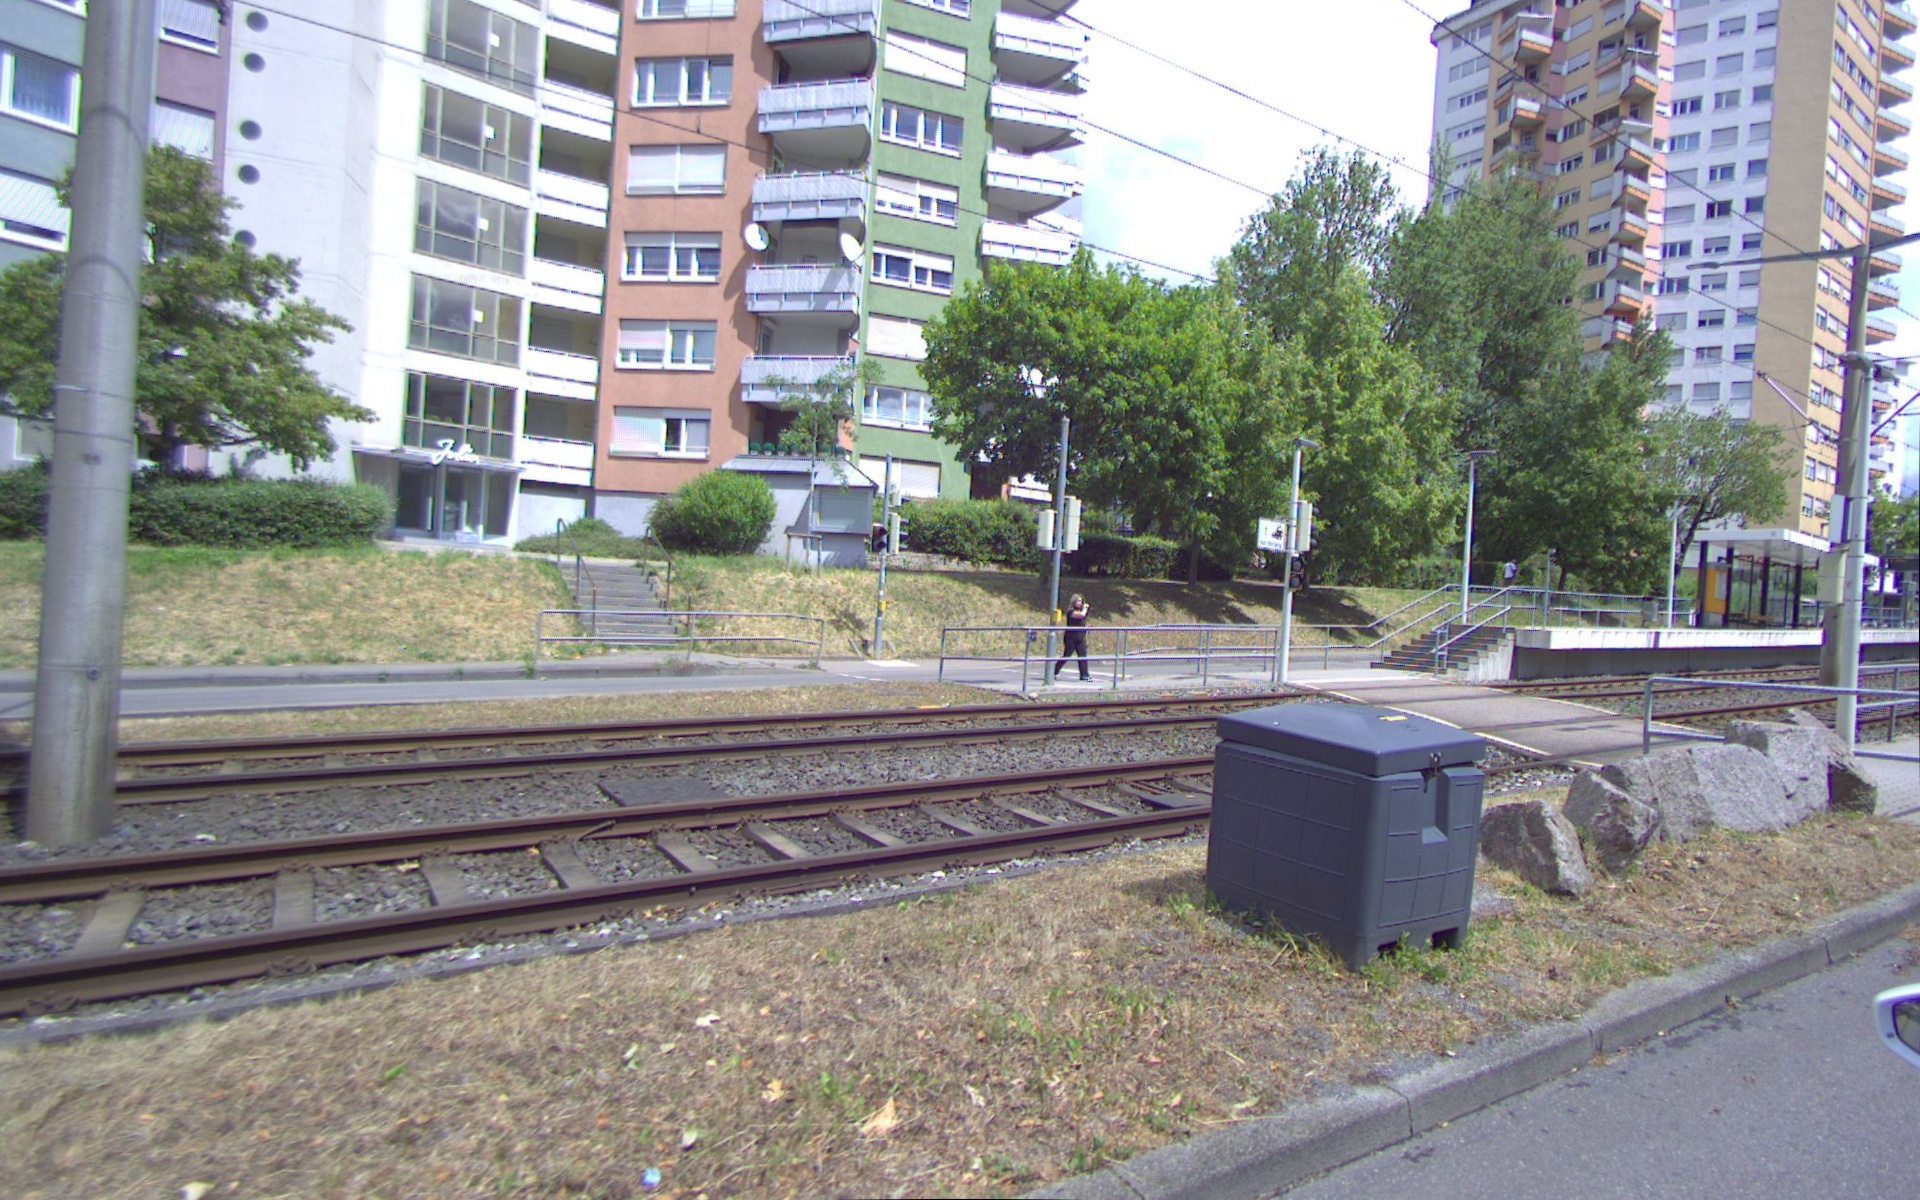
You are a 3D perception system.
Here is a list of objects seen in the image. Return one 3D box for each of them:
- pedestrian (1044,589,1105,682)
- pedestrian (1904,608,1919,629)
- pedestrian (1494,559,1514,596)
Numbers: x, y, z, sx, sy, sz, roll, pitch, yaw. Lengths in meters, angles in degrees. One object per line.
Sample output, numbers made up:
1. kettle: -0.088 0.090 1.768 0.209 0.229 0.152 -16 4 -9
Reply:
1. pedestrian: 2.029 0.623 17.831 0.684 1.584 0.816 -1 -1 -35
2. pedestrian: 77.145 1.505 81.329 0.680 1.719 0.854 1 1 -26
3. pedestrian: 25.562 -1.052 47.232 0.499 1.735 0.645 1 0 -36
